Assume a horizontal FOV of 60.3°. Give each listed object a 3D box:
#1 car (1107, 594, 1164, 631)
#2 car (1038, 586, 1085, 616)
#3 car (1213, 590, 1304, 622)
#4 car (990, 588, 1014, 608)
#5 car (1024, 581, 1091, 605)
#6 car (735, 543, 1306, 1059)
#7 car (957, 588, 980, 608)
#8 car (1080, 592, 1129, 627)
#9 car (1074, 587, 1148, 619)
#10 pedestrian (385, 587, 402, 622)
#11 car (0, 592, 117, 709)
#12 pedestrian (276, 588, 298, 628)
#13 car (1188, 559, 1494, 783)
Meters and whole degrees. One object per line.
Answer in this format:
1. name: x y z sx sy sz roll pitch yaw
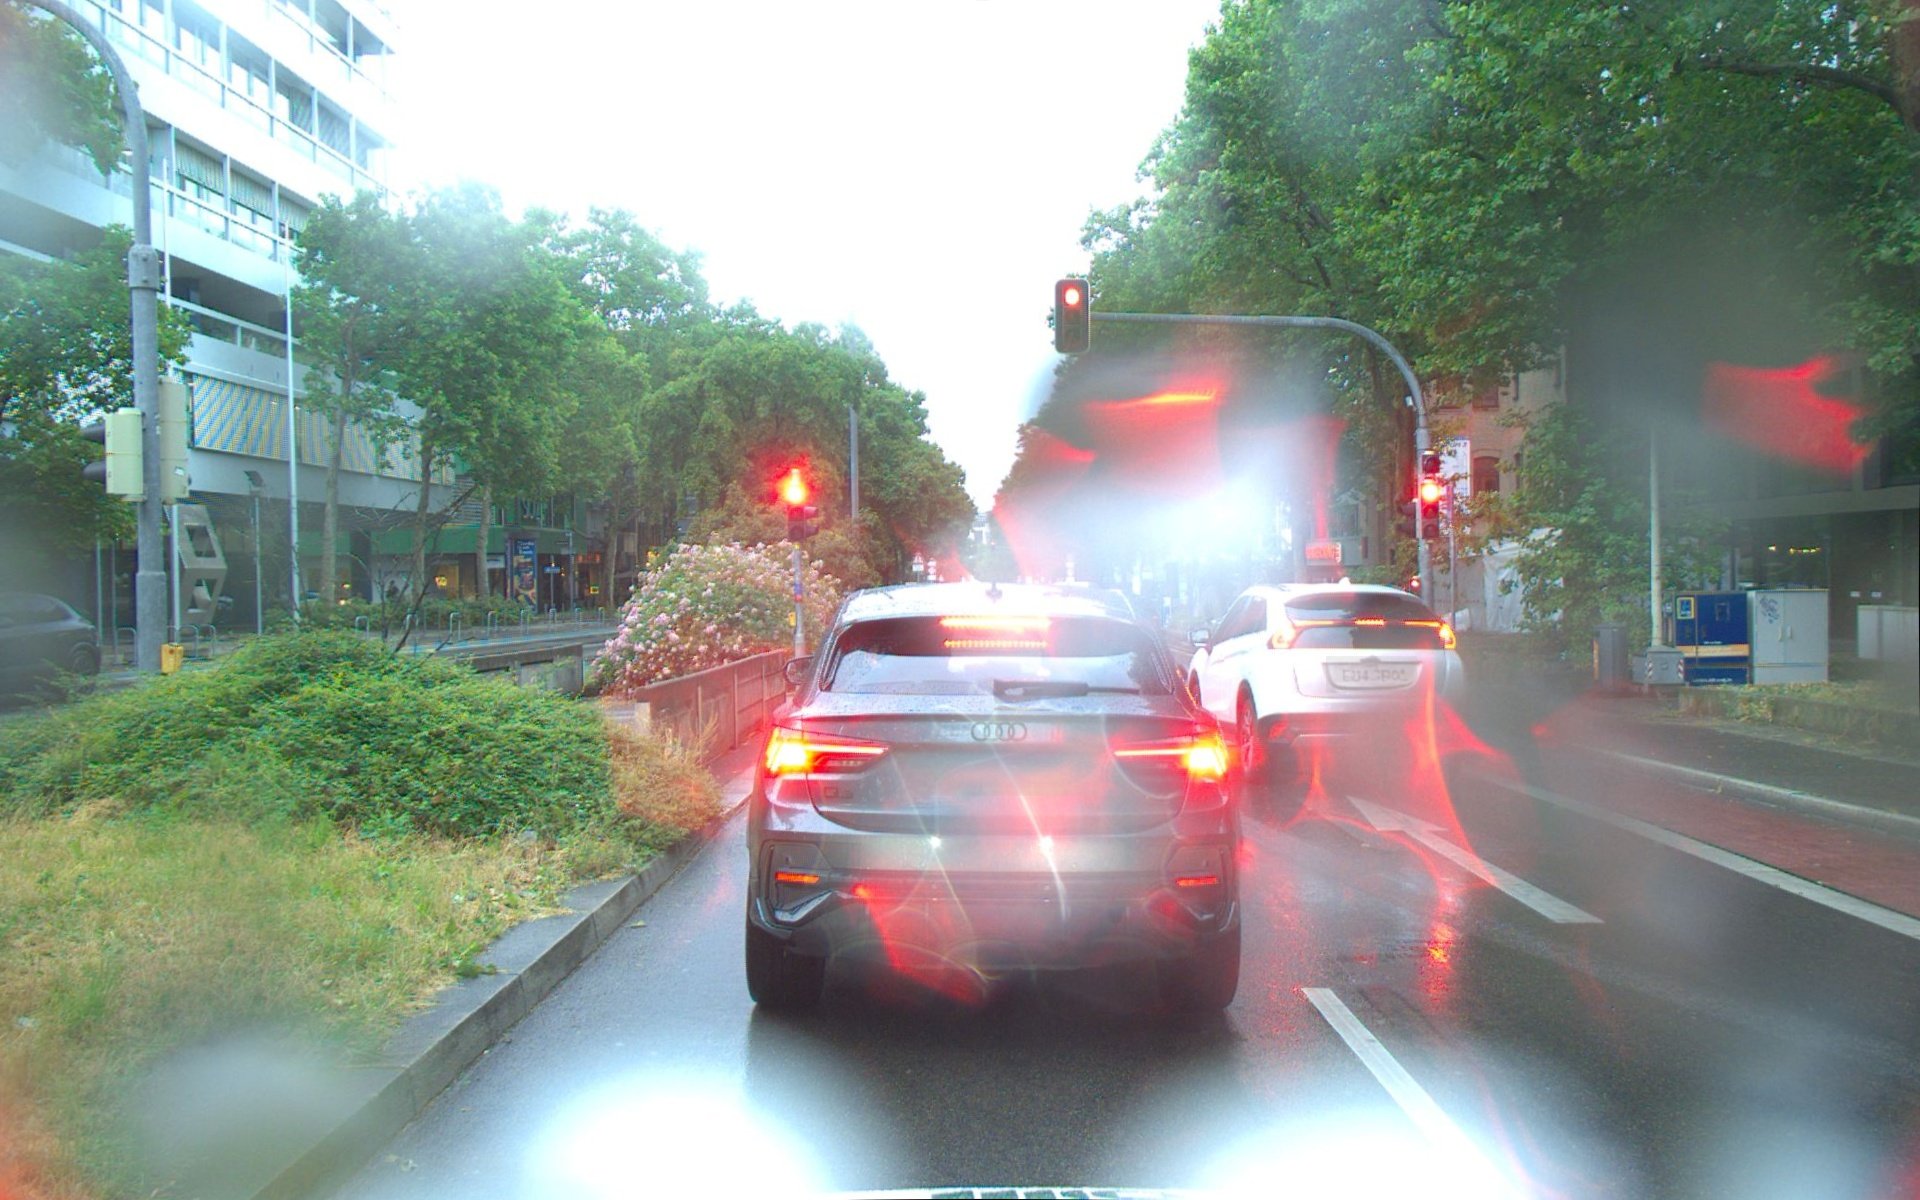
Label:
1. car: 7.238 0.501 68.640 1.835 1.446 4.611 1 0 0
2. car: 6.169 0.080 100.550 1.957 1.757 3.990 1 0 -10
3. car: 10.576 0.205 58.634 2.831 1.093 1.452 1 -1 31
4. car: 3.682 -0.124 145.102 1.952 1.680 4.000 1 0 0
5. car: 7.280 -0.514 123.273 4.549 1.736 1.997 1 -1 28
6. car: 0.164 0.635 7.249 1.812 1.630 3.999 0 0 -1
7. car: 0.690 -0.175 138.553 1.857 1.627 3.938 1 0 -1
8. car: 6.922 0.452 79.497 1.693 1.599 4.070 1 0 -4
9. car: 9.962 0.202 109.095 4.519 2.049 1.959 1 -1 39
10. pedestrian: -24.831 0.194 72.556 0.599 1.508 0.573 1 -1 -12
11. car: -14.070 0.683 23.122 1.869 1.612 4.748 1 0 4
12. pedestrian: -24.181 0.287 59.456 0.626 1.404 0.473 1 -1 -12
13. car: 3.274 0.571 15.009 1.839 1.727 4.000 1 0 0
